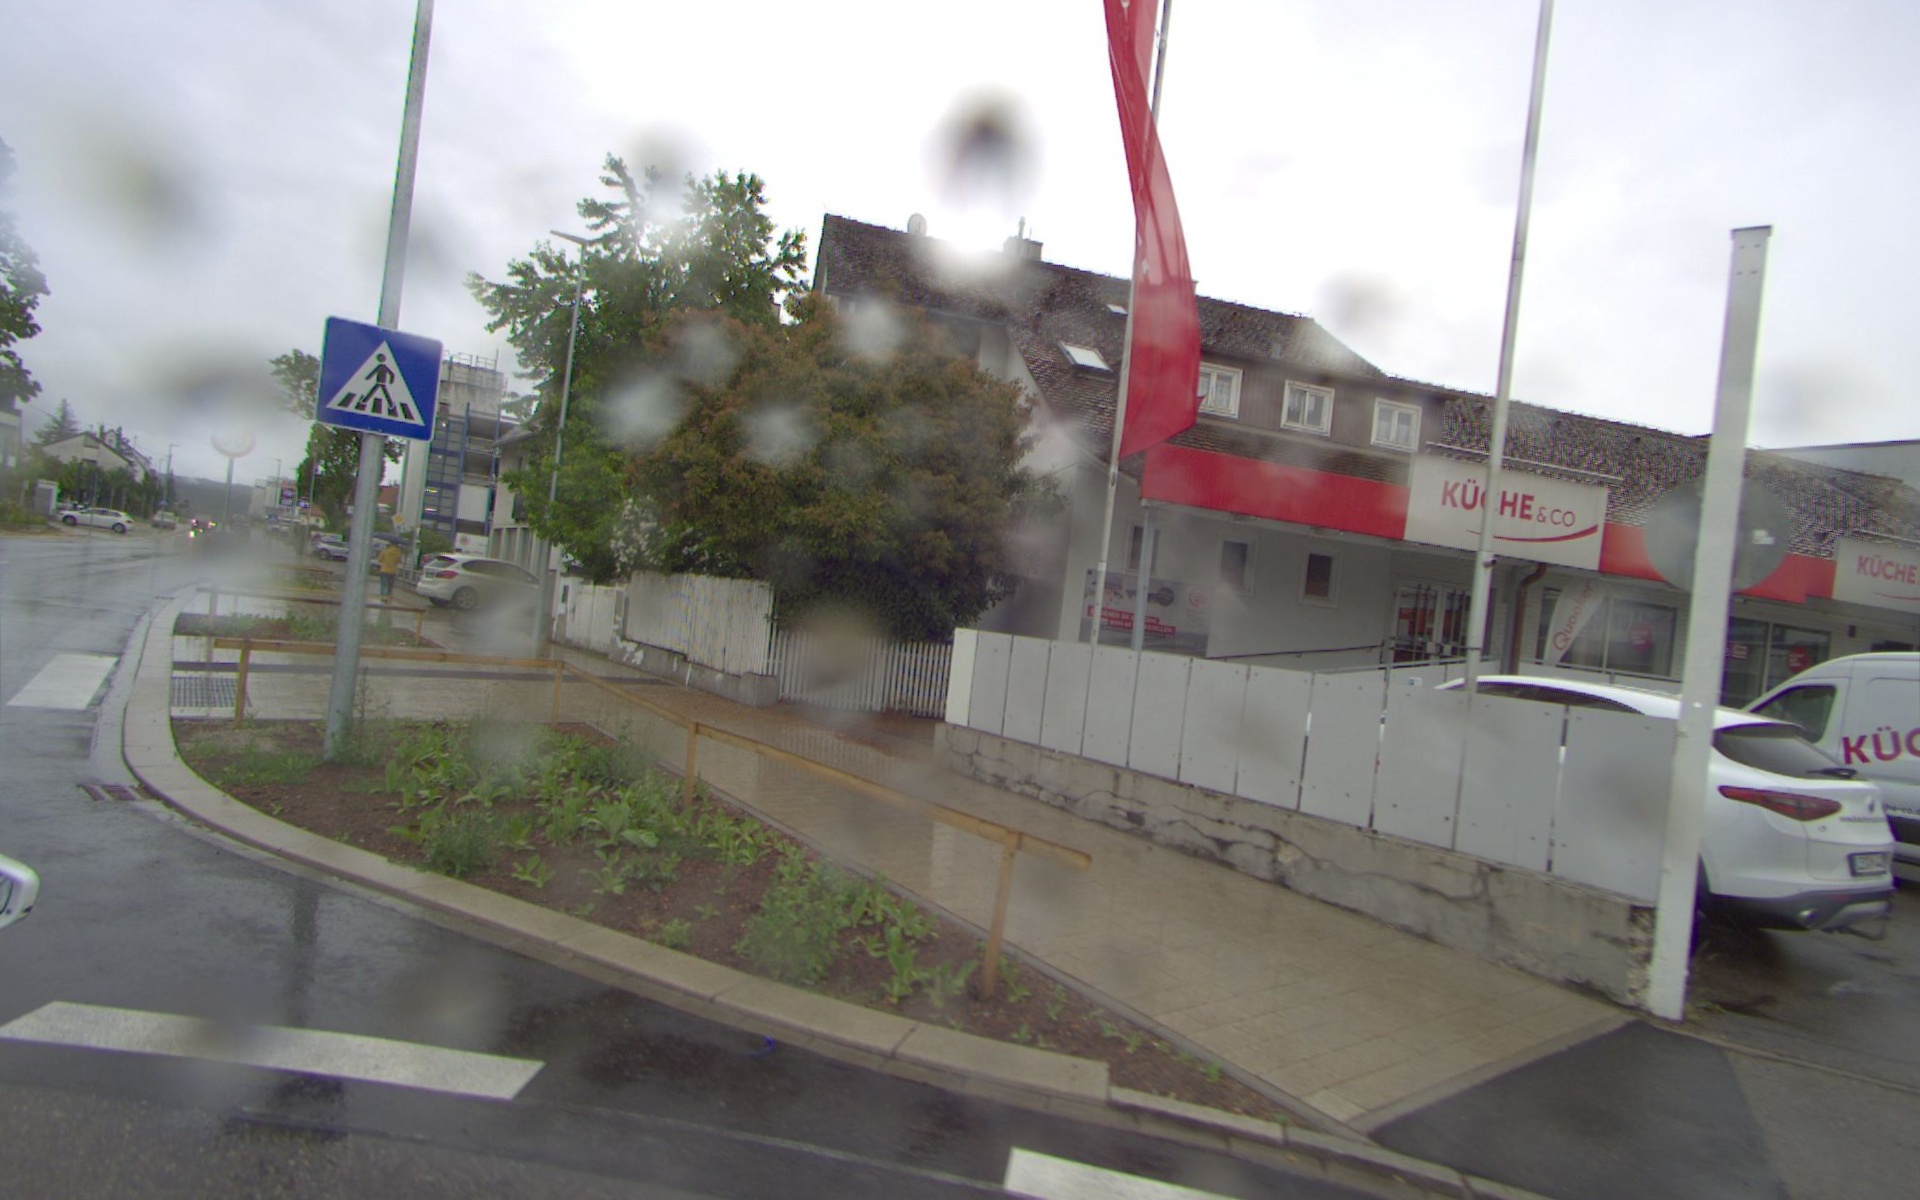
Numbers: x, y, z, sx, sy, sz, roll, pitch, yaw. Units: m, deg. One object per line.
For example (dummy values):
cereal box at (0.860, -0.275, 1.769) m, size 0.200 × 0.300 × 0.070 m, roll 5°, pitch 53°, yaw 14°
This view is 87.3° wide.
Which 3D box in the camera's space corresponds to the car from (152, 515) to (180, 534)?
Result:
car at (-82.768, -7.897, 104.890) m, size 1.983 × 1.648 × 4.112 m, roll 8°, pitch -1°, yaw -36°

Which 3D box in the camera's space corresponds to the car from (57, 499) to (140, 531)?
car at (-57.989, -5.711, 67.806) m, size 3.907 × 1.439 × 1.880 m, roll 9°, pitch -2°, yaw -35°

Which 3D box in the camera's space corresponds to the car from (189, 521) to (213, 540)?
car at (-88.047, -8.010, 116.680) m, size 1.993 × 1.839 × 4.930 m, roll 8°, pitch -1°, yaw -37°

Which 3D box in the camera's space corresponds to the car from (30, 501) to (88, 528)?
car at (-104.591, -9.909, 116.785) m, size 1.975 × 2.033 × 4.751 m, roll 5°, pitch -7°, yaw 45°

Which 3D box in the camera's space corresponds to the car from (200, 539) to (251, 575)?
car at (-40.604, -2.365, 55.577) m, size 1.943 × 1.571 × 3.959 m, roll 13°, pitch -6°, yaw -38°

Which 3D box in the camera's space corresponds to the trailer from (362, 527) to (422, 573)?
trailer at (-32.571, -2.874, 57.675) m, size 2.686 × 2.197 × 1.534 m, roll 8°, pitch -1°, yaw -34°

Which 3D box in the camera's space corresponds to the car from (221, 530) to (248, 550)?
car at (-80.477, -6.659, 111.576) m, size 2.146 × 1.722 × 3.963 m, roll 13°, pitch -6°, yaw -36°

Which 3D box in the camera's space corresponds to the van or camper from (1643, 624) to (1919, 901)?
van or camper at (10.396, 1.780, 10.315) m, size 2.098 × 2.571 × 5.245 m, roll 7°, pitch -1°, yaw -17°

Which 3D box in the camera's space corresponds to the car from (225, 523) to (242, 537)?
car at (-116.038, -11.143, 160.755) m, size 1.986 × 1.722 × 3.963 m, roll 13°, pitch -6°, yaw -36°

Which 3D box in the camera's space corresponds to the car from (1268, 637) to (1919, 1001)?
car at (4.735, 1.410, 7.917) m, size 1.827 × 1.711 × 4.138 m, roll 8°, pitch -1°, yaw -30°

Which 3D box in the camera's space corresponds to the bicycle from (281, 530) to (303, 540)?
bicycle at (-97.526, -9.510, 146.899) m, size 3.562 × 1.077 × 0.672 m, roll 8°, pitch -4°, yaw 23°

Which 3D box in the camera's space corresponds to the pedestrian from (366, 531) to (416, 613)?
pedestrian at (-14.907, -0.734, 26.333) m, size 0.854 × 2.039 × 1.183 m, roll 5°, pitch 1°, yaw -38°

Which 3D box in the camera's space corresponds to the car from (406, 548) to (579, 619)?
car at (-13.755, -0.459, 29.765) m, size 1.971 × 1.600 × 4.123 m, roll 7°, pitch 0°, yaw 40°

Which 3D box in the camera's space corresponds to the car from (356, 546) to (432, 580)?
car at (-33.744, -2.191, 60.003) m, size 3.705 × 1.547 × 1.634 m, roll 7°, pitch -2°, yaw -36°

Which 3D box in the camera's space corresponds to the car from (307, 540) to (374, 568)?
car at (-48.368, -3.581, 78.597) m, size 4.169 × 1.670 × 1.987 m, roll 6°, pitch 0°, yaw -26°
